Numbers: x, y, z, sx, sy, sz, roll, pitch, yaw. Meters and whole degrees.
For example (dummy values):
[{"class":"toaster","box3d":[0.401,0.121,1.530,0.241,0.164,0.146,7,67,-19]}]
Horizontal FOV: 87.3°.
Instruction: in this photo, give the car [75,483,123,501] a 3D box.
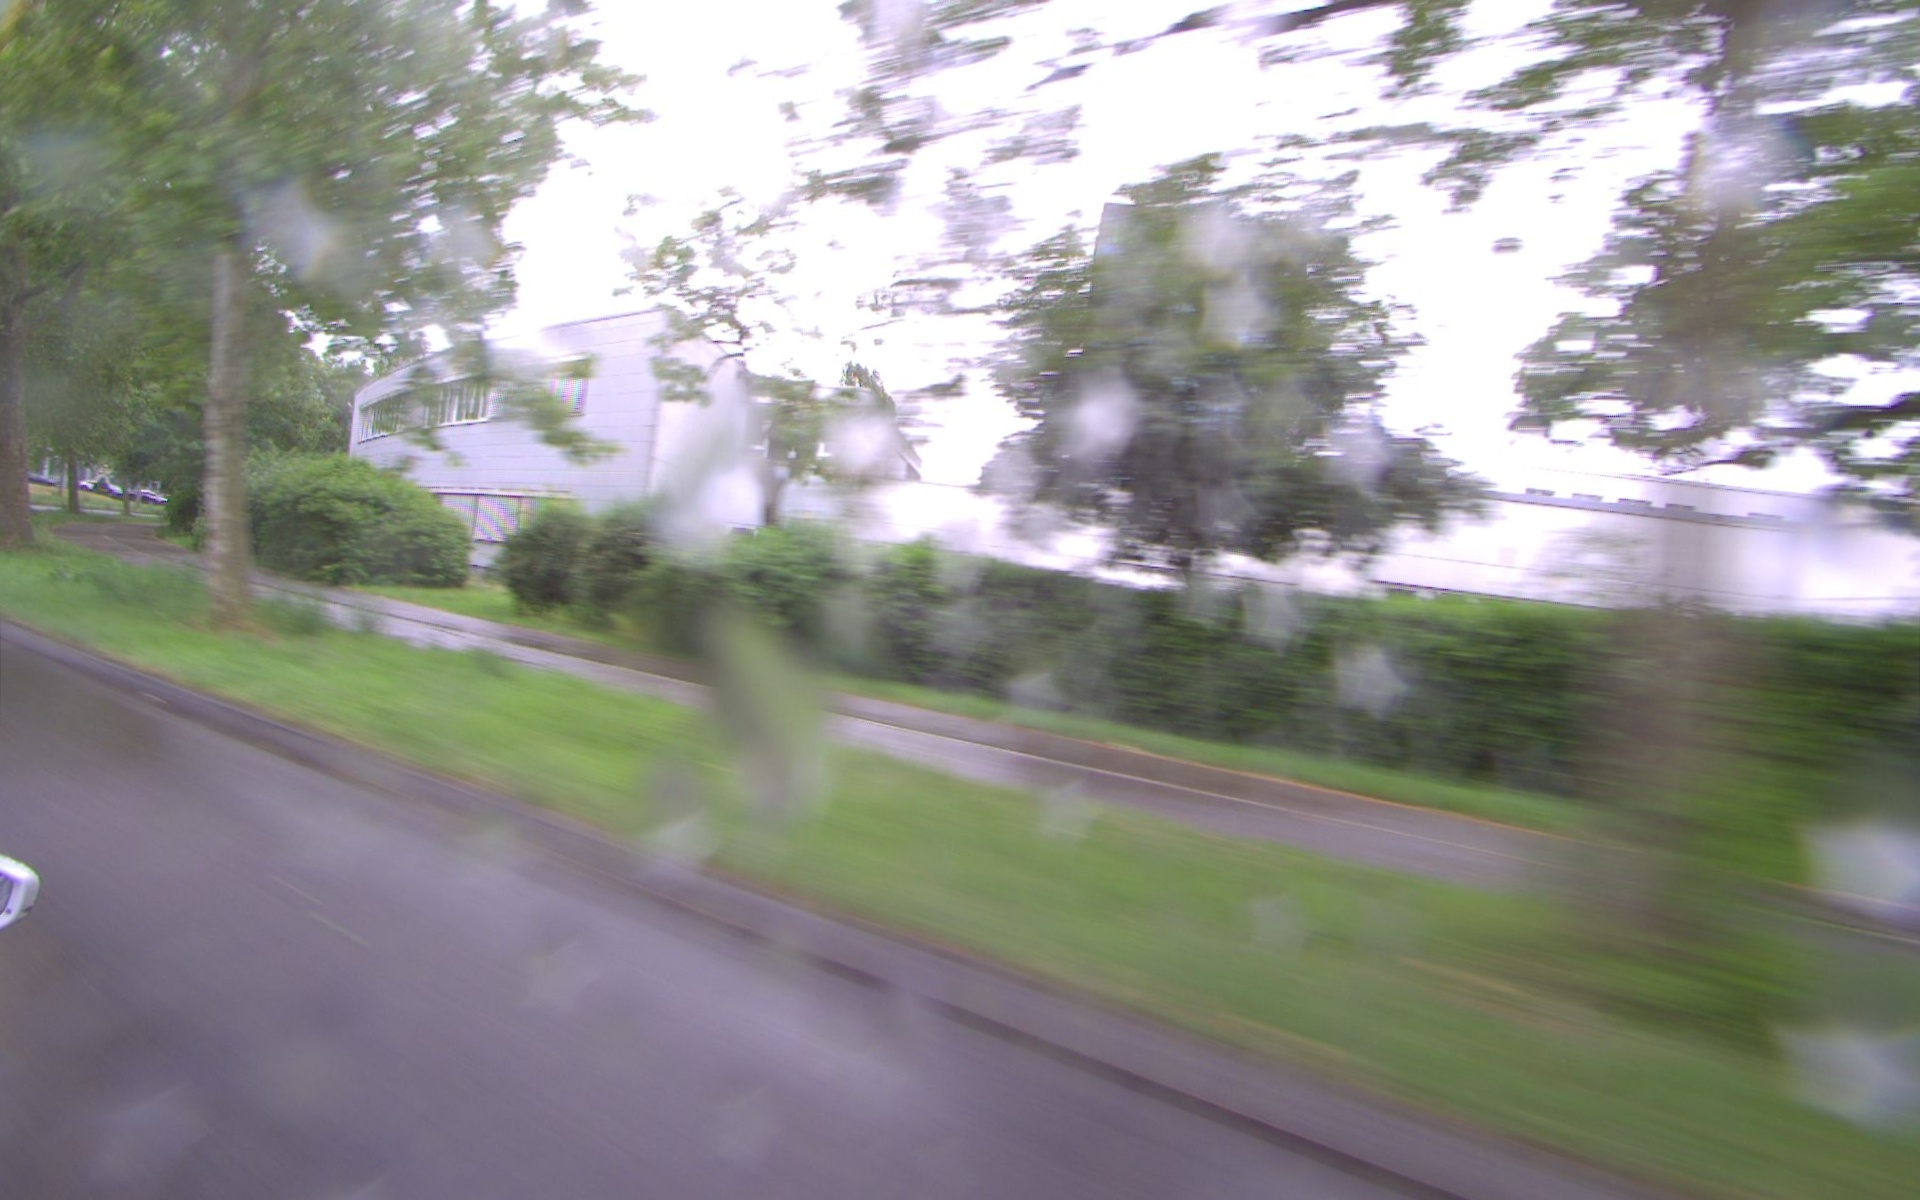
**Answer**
[{"class":"car","box3d":[-113.724,-14.252,132.928,4.374,1.491,1.911,8,0,-19]}]

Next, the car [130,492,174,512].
[{"class":"car","box3d":[-109.930,-13.329,136.893,1.818,1.493,4.130,15,-1,34]}]
